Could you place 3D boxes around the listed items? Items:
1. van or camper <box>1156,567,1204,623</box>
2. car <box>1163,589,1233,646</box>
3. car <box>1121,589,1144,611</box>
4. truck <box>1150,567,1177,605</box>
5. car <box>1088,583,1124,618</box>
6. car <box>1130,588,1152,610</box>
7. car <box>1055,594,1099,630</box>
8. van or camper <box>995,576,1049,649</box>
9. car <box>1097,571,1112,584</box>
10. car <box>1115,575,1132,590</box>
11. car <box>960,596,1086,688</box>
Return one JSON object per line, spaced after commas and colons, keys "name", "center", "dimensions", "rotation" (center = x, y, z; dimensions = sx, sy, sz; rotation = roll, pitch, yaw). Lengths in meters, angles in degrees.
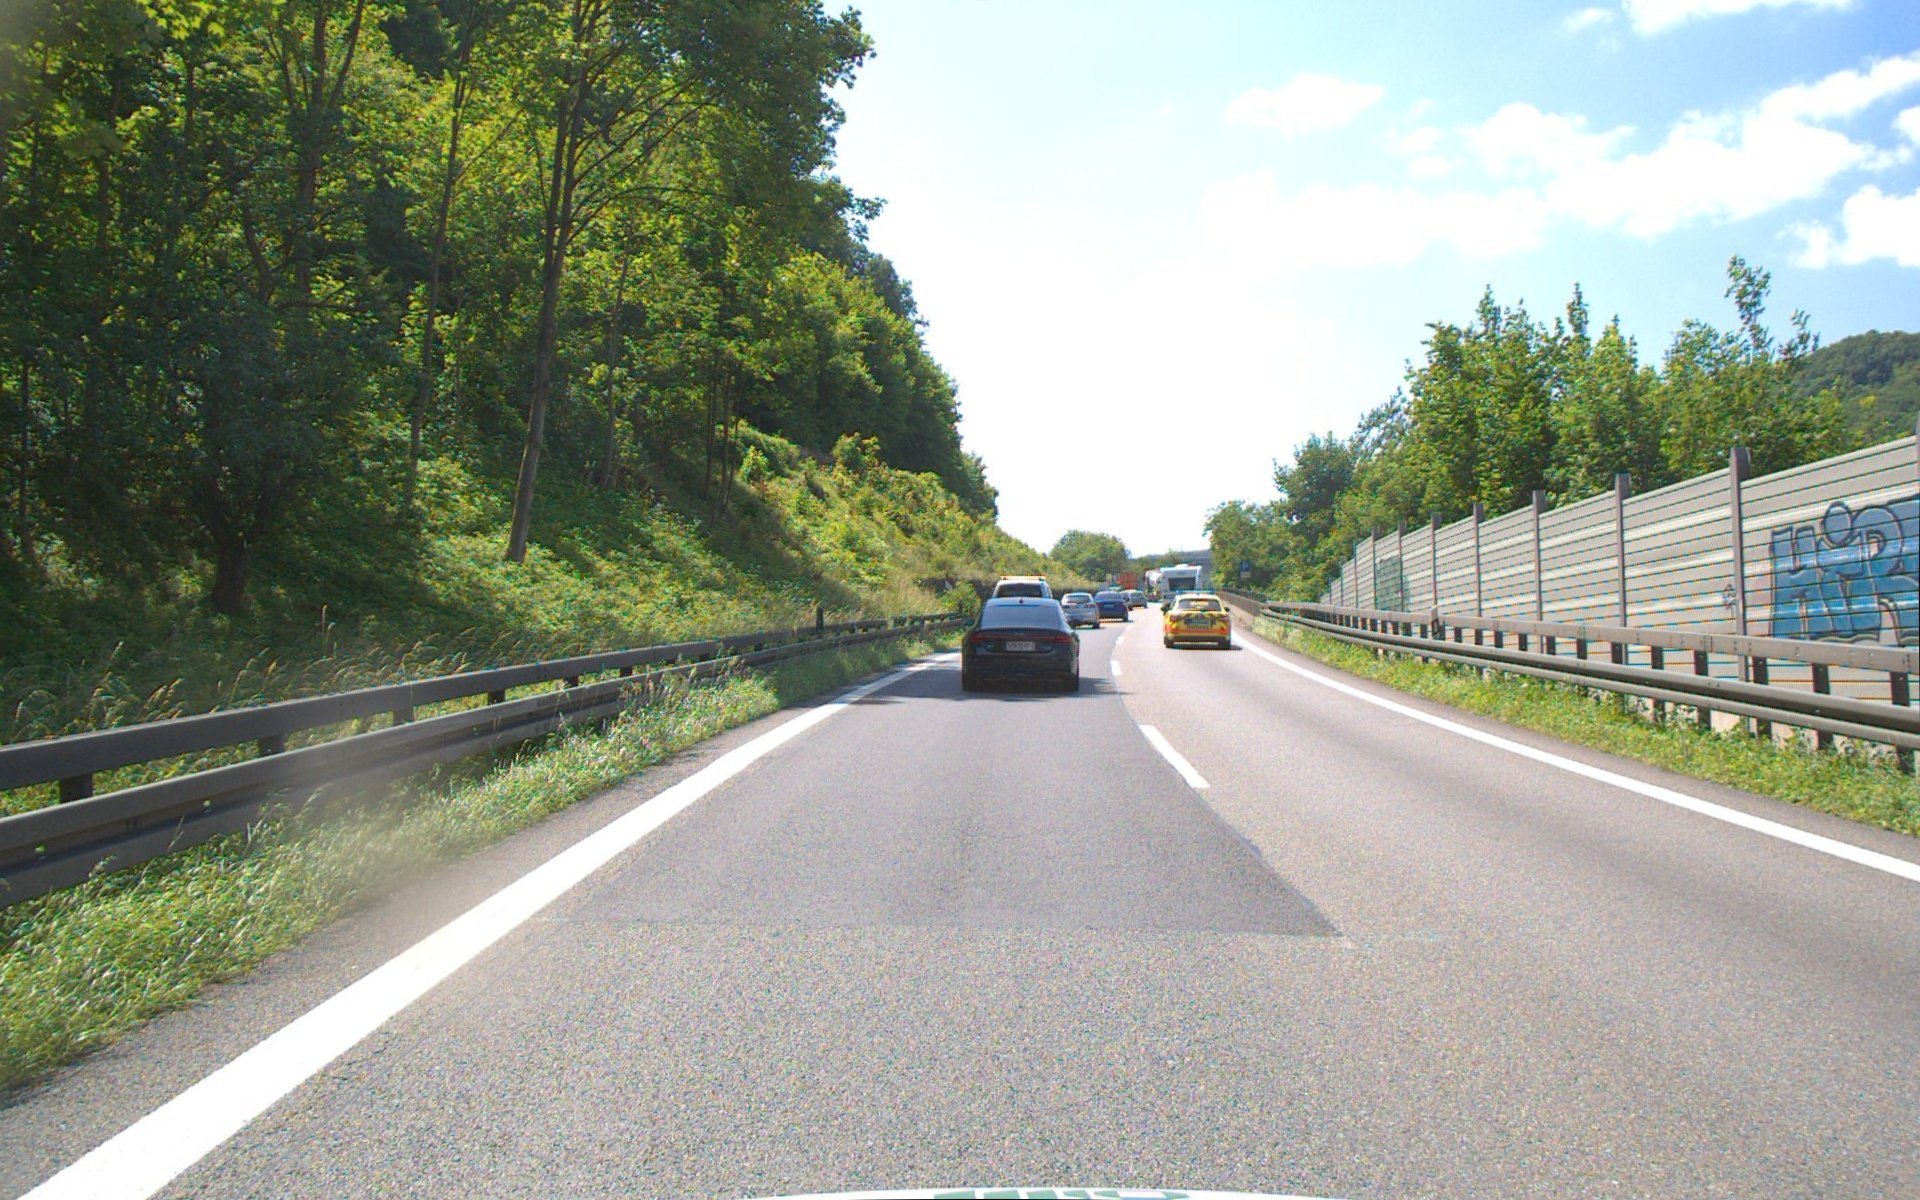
{"name": "van or camper", "center": [12.103, -0.203, 91.435], "dimensions": [2.403, 2.969, 6.129], "rotation": [0, -1, 6]}
{"name": "car", "center": [6.576, 0.495, 46.087], "dimensions": [1.823, 1.514, 4.003], "rotation": [0, -1, 7]}
{"name": "car", "center": [13.373, -0.038, 127.910], "dimensions": [1.645, 1.662, 3.522], "rotation": [0, 0, 8]}
{"name": "truck", "center": [22.691, -1.571, 184.724], "dimensions": [2.675, 4.168, 7.484], "rotation": [0, 0, 5]}
{"name": "car", "center": [7.162, 0.033, 81.318], "dimensions": [1.736, 1.665, 4.002], "rotation": [1, -1, 5]}
{"name": "car", "center": [15.233, -0.067, 139.007], "dimensions": [1.802, 1.747, 4.003], "rotation": [0, -1, 7]}
{"name": "car", "center": [4.861, 0.512, 68.420], "dimensions": [1.710, 1.456, 4.002], "rotation": [0, -1, 6]}
{"name": "van or camper", "center": [1.641, 0.349, 44.235], "dimensions": [1.363, 1.848, 4.000], "rotation": [1, -1, 2]}
{"name": "car", "center": [22.803, -3.611, 261.822], "dimensions": [1.953, 2.049, 3.999], "rotation": [0, 0, -1]}
{"name": "car", "center": [23.277, -2.503, 236.154], "dimensions": [1.953, 2.049, 3.999], "rotation": [0, 0, -1]}
{"name": "car", "center": [0.948, 0.658, 26.927], "dimensions": [1.800, 1.373, 3.998], "rotation": [1, -1, -1]}
